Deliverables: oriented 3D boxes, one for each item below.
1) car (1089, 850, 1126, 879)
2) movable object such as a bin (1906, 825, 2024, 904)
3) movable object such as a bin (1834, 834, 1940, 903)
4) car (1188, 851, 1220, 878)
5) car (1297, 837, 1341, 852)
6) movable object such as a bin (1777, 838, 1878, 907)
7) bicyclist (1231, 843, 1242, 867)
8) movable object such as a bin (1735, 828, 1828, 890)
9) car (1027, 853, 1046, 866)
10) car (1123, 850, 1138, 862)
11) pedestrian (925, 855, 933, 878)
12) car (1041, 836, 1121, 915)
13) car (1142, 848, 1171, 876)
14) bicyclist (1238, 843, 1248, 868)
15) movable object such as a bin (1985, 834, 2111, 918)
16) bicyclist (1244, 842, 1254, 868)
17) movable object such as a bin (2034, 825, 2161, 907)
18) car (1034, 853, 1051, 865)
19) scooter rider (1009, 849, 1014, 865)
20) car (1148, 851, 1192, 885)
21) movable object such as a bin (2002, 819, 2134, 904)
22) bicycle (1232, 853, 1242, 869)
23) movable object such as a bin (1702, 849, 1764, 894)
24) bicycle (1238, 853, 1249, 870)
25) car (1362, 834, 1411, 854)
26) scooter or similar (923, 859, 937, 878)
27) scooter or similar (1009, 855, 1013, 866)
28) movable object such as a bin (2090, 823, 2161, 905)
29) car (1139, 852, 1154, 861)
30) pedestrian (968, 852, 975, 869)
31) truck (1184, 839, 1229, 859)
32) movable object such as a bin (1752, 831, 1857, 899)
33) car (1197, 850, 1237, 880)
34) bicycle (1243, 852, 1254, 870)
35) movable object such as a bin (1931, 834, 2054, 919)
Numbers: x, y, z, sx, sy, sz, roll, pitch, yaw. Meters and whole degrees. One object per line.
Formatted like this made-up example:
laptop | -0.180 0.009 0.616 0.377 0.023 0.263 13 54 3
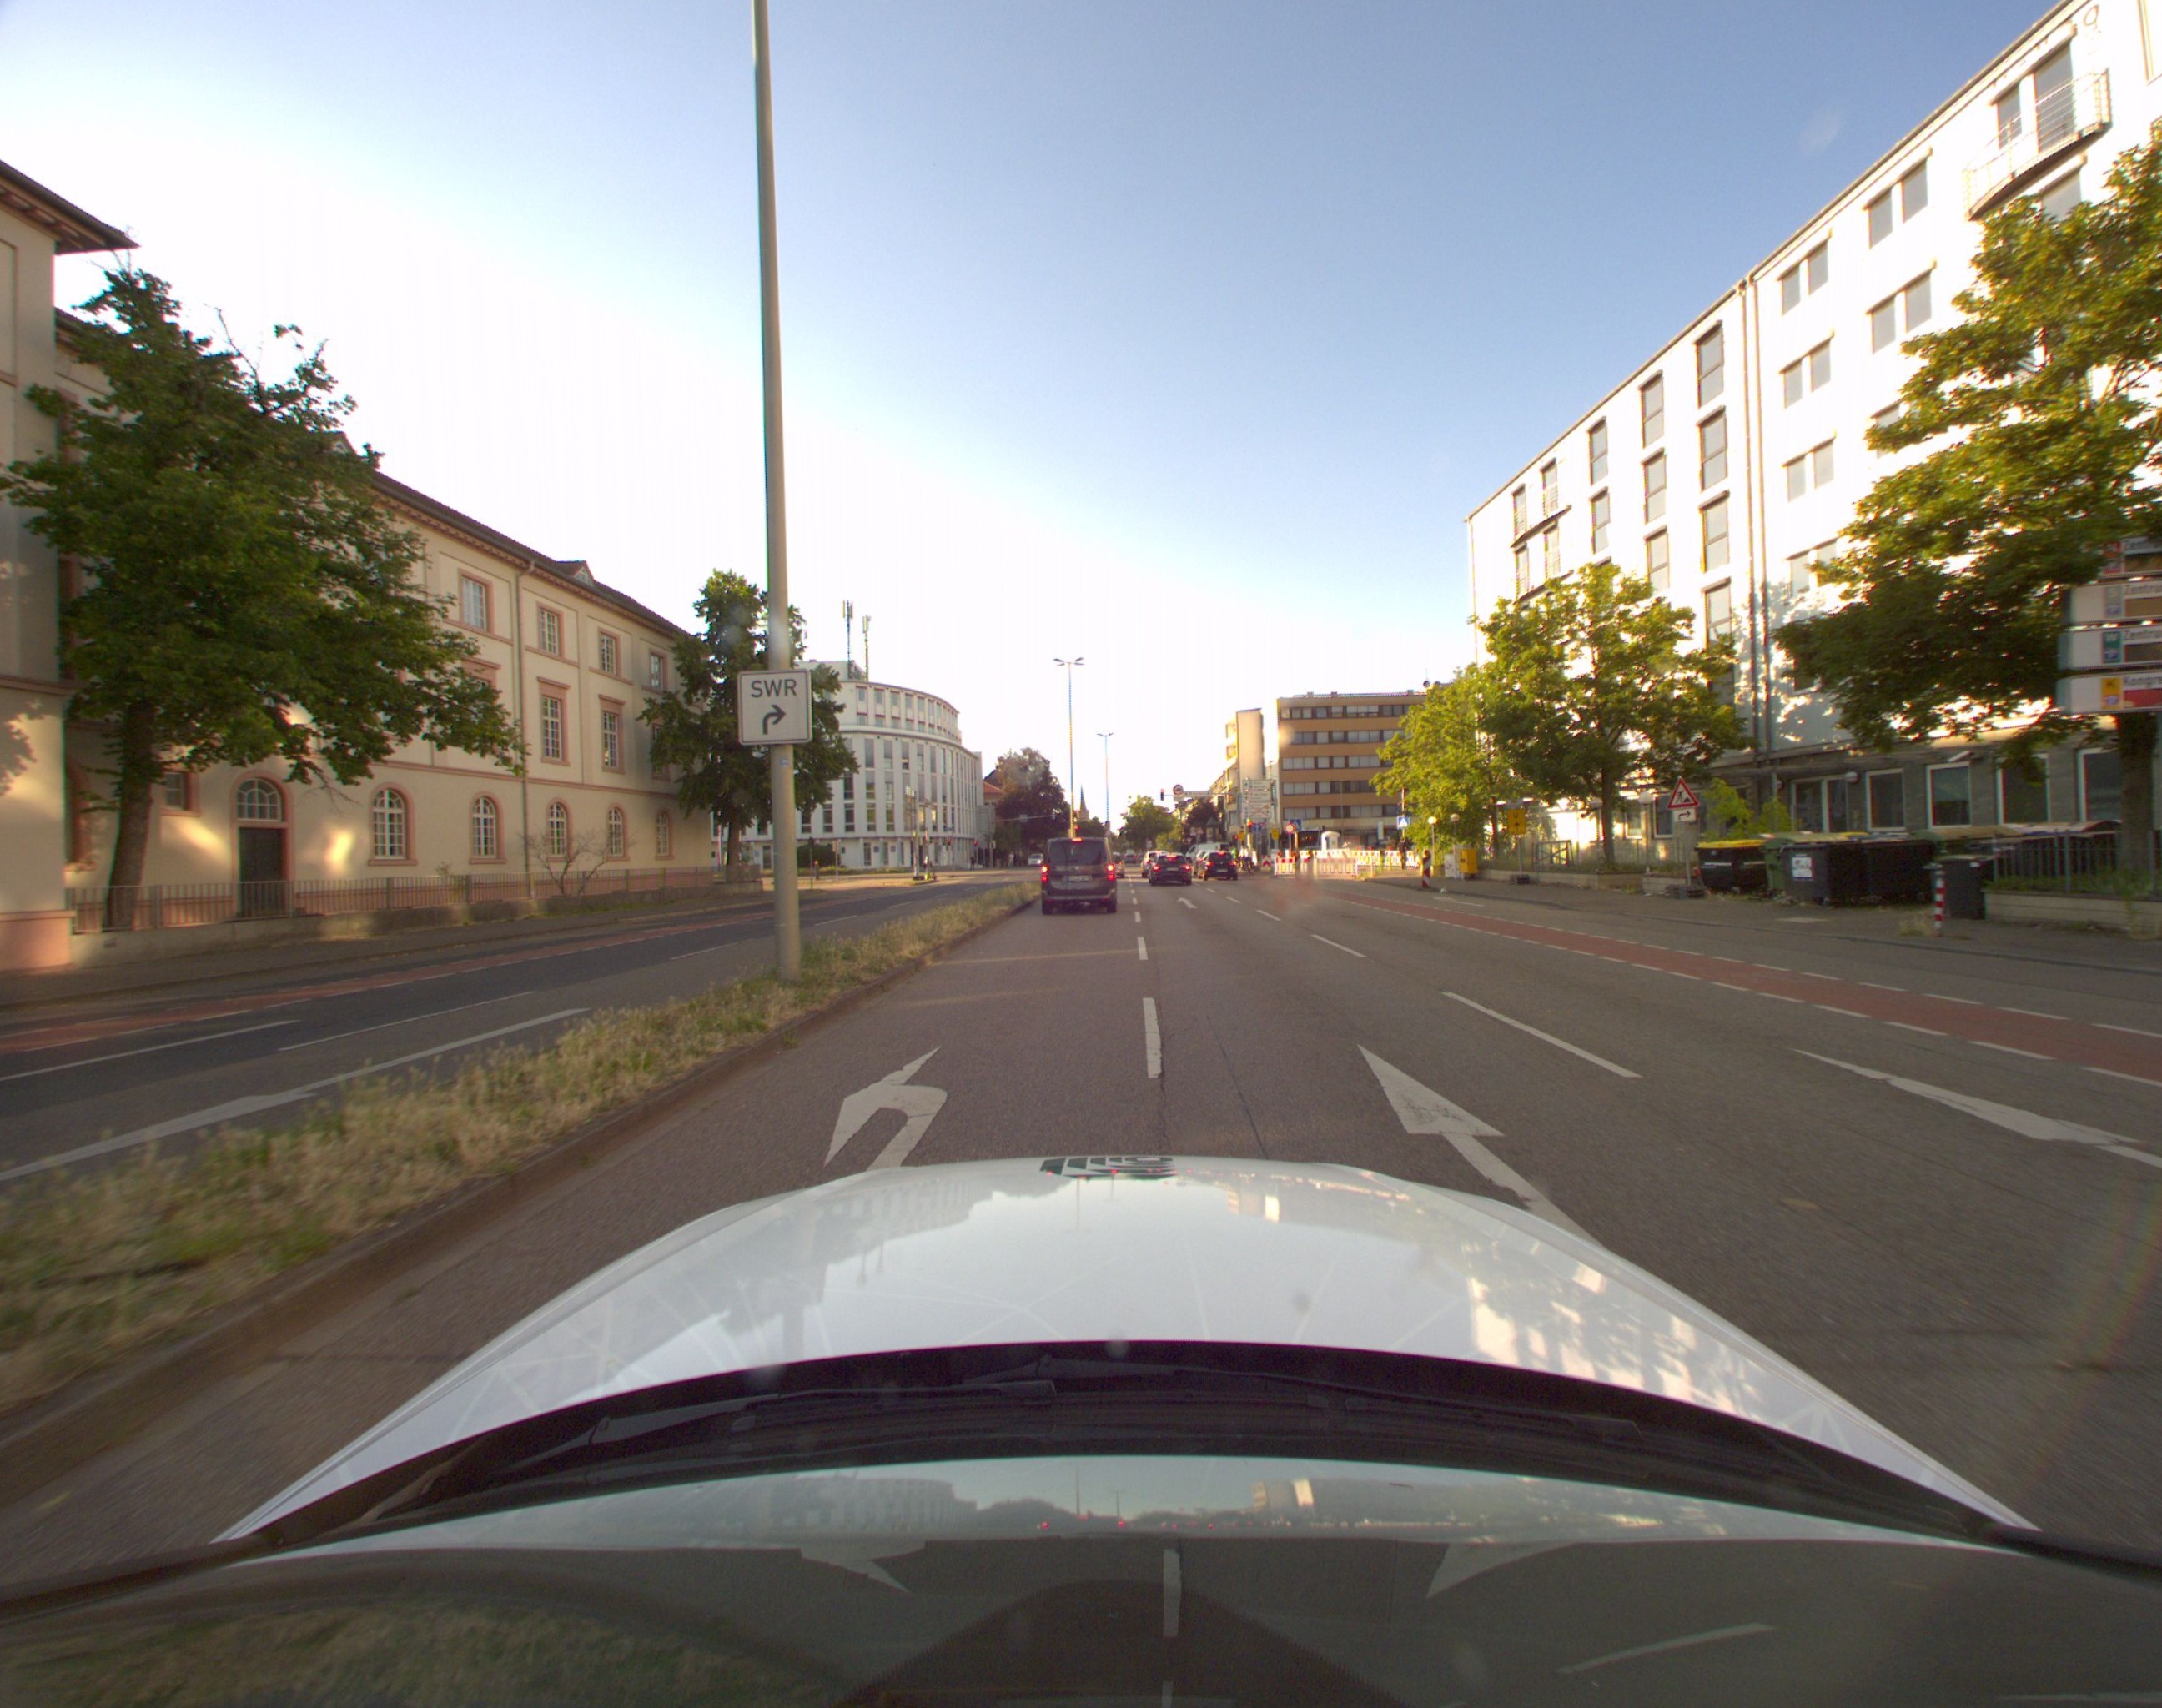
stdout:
car | 1.531 0.573 47.058 1.986 1.530 4.002 -2 0 2
movable object such as a bin | 17.403 0.199 16.063 1.029 1.449 1.162 -2 0 -1
movable object such as a bin | 16.342 0.286 16.549 0.950 1.328 1.162 -2 0 -1
car | 7.221 0.595 48.009 1.499 1.449 3.307 -2 0 2
car | 24.321 -0.961 83.286 3.979 1.420 1.785 -2 0 -4
movable object such as a bin | 15.222 0.355 16.639 0.950 1.328 1.162 -2 0 -1
bicyclist | 10.069 0.088 52.760 0.511 1.525 0.726 -2 0 2
movable object such as a bin | 17.541 0.125 20.433 1.344 1.461 1.105 -2 0 -3
car | -5.231 0.598 95.488 1.849 1.420 4.001 -2 0 1
car | 7.154 0.277 118.333 1.987 1.662 3.999 -2 0 0
pedestrian | -10.403 0.847 55.779 0.474 1.505 0.334 -2 0 -10
car | 0.093 0.505 21.732 1.899 1.863 4.529 0 0 2
car | 4.380 0.438 47.625 1.523 1.613 3.747 0 0 2
bicyclist | 9.935 0.077 49.825 0.439 1.525 0.726 -2 0 2
movable object such as a bin | 16.081 0.354 13.574 0.950 1.328 0.953 -2 0 -1
bicyclist | 9.784 0.067 47.533 0.439 1.525 0.483 -2 0 2
movable object such as a bin | 17.124 0.194 13.669 0.950 1.283 1.098 -2 0 -1
car | -4.794 0.615 101.496 1.849 1.420 4.001 -2 0 1
scooter rider | -7.795 0.343 91.647 0.479 1.697 0.636 -2 0 2
car | 3.996 0.602 37.081 1.675 1.421 4.216 0 0 2
movable object such as a bin | 18.568 0.131 15.359 1.029 1.498 1.162 -2 0 -1
bicycle | 10.091 0.442 52.712 0.335 1.008 1.857 -2 0 2
movable object such as a bin | 15.925 0.426 19.909 0.848 1.045 0.819 -2 0 -3
bicycle | 9.928 0.462 49.743 0.335 1.008 1.857 -2 0 2
car | 30.514 -0.990 81.380 4.199 1.817 2.001 -2 0 2
scooter or similar | -10.338 0.990 55.687 0.893 1.234 0.370 -2 0 -9
scooter or similar | -7.842 0.701 91.542 0.284 1.188 1.170 -2 0 2
movable object such as a bin | 18.134 0.155 13.697 0.950 1.328 1.098 -2 0 -1
car | 9.892 0.351 123.444 1.898 1.372 4.001 -2 0 1
pedestrian | -11.383 0.659 84.401 0.626 1.722 0.669 -2 0 -12
truck | 14.400 -0.540 93.271 4.571 2.086 2.148 -2 0 40
movable object such as a bin | 16.160 0.231 18.239 1.344 1.424 1.105 -2 0 -3
car | 7.017 0.553 42.304 1.627 1.449 3.747 0 0 2
bicycle | 9.798 0.418 47.608 0.335 1.008 1.857 -2 0 2
movable object such as a bin | 15.103 0.355 13.527 0.950 1.328 0.953 -2 0 -1
